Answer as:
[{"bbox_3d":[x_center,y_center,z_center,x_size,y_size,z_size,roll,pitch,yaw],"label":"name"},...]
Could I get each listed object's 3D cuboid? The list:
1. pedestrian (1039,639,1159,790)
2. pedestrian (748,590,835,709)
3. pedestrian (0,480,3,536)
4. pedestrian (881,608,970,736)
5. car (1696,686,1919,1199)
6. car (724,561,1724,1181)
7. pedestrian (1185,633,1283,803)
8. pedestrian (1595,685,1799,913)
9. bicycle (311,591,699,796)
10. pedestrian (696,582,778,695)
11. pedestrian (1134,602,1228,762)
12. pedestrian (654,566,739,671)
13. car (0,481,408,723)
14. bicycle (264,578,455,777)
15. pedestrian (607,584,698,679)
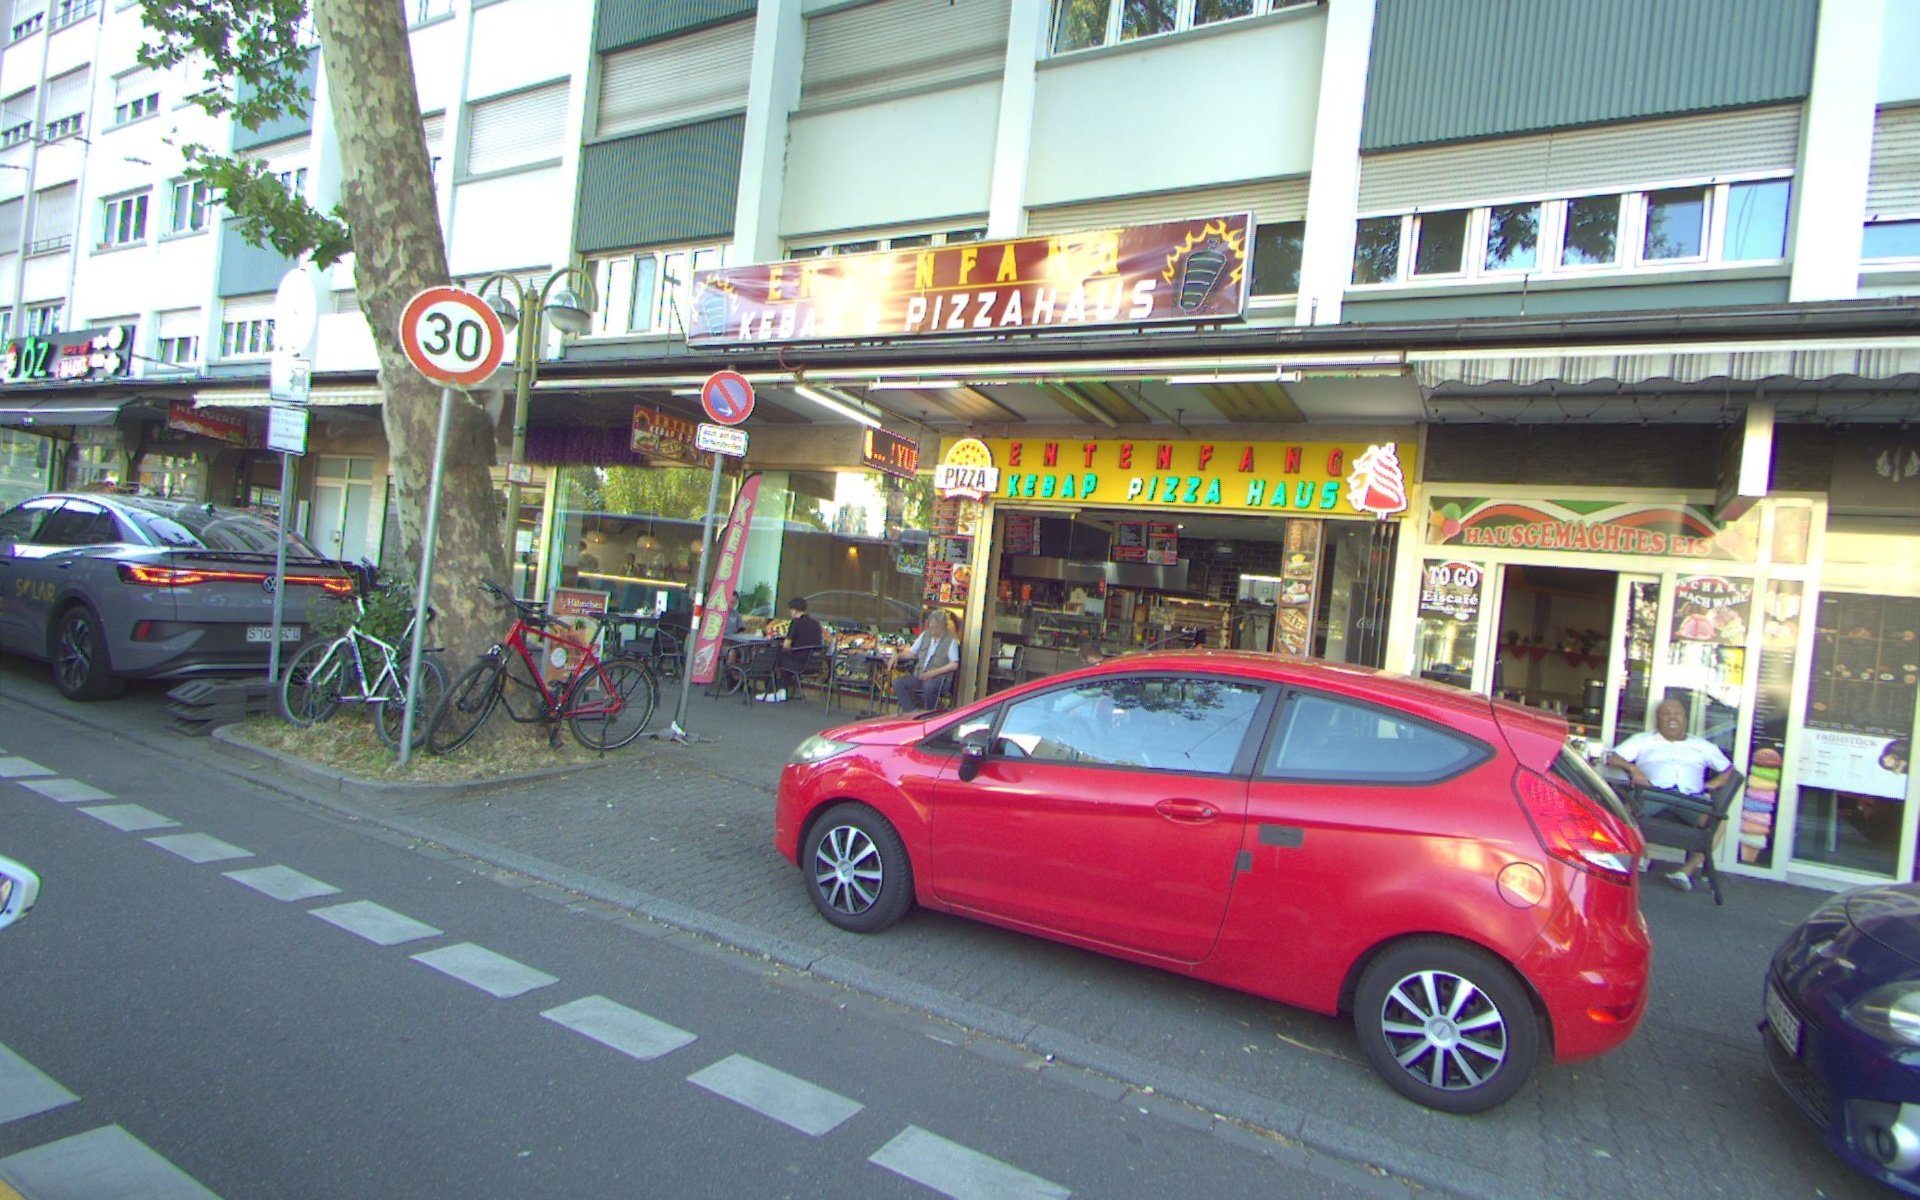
[{"bbox_3d":[1.274,1.013,9.197,0.798,1.225,0.654,7,2,28],"label":"pedestrian"},{"bbox_3d":[-1.923,0.560,11.483,0.679,1.261,0.558,7,2,33],"label":"pedestrian"},{"bbox_3d":[-19.307,-1.557,19.754,0.661,1.688,0.593,4,2,-42],"label":"pedestrian"},{"bbox_3d":[-0.361,0.753,10.712,0.550,1.252,0.689,7,2,29],"label":"pedestrian"},{"bbox_3d":[4.367,1.262,2.670,3.549,1.488,1.767,6,3,29],"label":"car"},{"bbox_3d":[0.984,0.817,4.731,3.757,1.617,1.782,6,3,28],"label":"car"},{"bbox_3d":[2.723,1.150,9.975,0.589,1.560,0.700,7,0,34],"label":"pedestrian"},{"bbox_3d":[5.200,1.342,7.193,0.937,1.352,1.069,7,0,30],"label":"pedestrian"},{"bbox_3d":[-3.004,0.560,6.907,0.547,1.171,2.377,7,4,44],"label":"bicycle"},{"bbox_3d":[-2.682,0.458,12.097,0.680,1.261,0.557,7,2,38],"label":"pedestrian"},{"bbox_3d":[2.318,0.848,10.532,0.589,1.566,0.700,7,0,34],"label":"pedestrian"},{"bbox_3d":[-3.751,0.258,14.385,0.958,1.350,0.830,6,0,-9],"label":"pedestrian"},{"bbox_3d":[-7.327,-0.113,9.060,4.292,1.603,1.996,7,2,27],"label":"car"},{"bbox_3d":[-4.226,0.507,7.047,1.421,1.169,0.553,6,0,36],"label":"bicycle"},{"bbox_3d":[-3.970,0.402,13.047,0.940,1.094,0.639,7,0,-9],"label":"pedestrian"}]
